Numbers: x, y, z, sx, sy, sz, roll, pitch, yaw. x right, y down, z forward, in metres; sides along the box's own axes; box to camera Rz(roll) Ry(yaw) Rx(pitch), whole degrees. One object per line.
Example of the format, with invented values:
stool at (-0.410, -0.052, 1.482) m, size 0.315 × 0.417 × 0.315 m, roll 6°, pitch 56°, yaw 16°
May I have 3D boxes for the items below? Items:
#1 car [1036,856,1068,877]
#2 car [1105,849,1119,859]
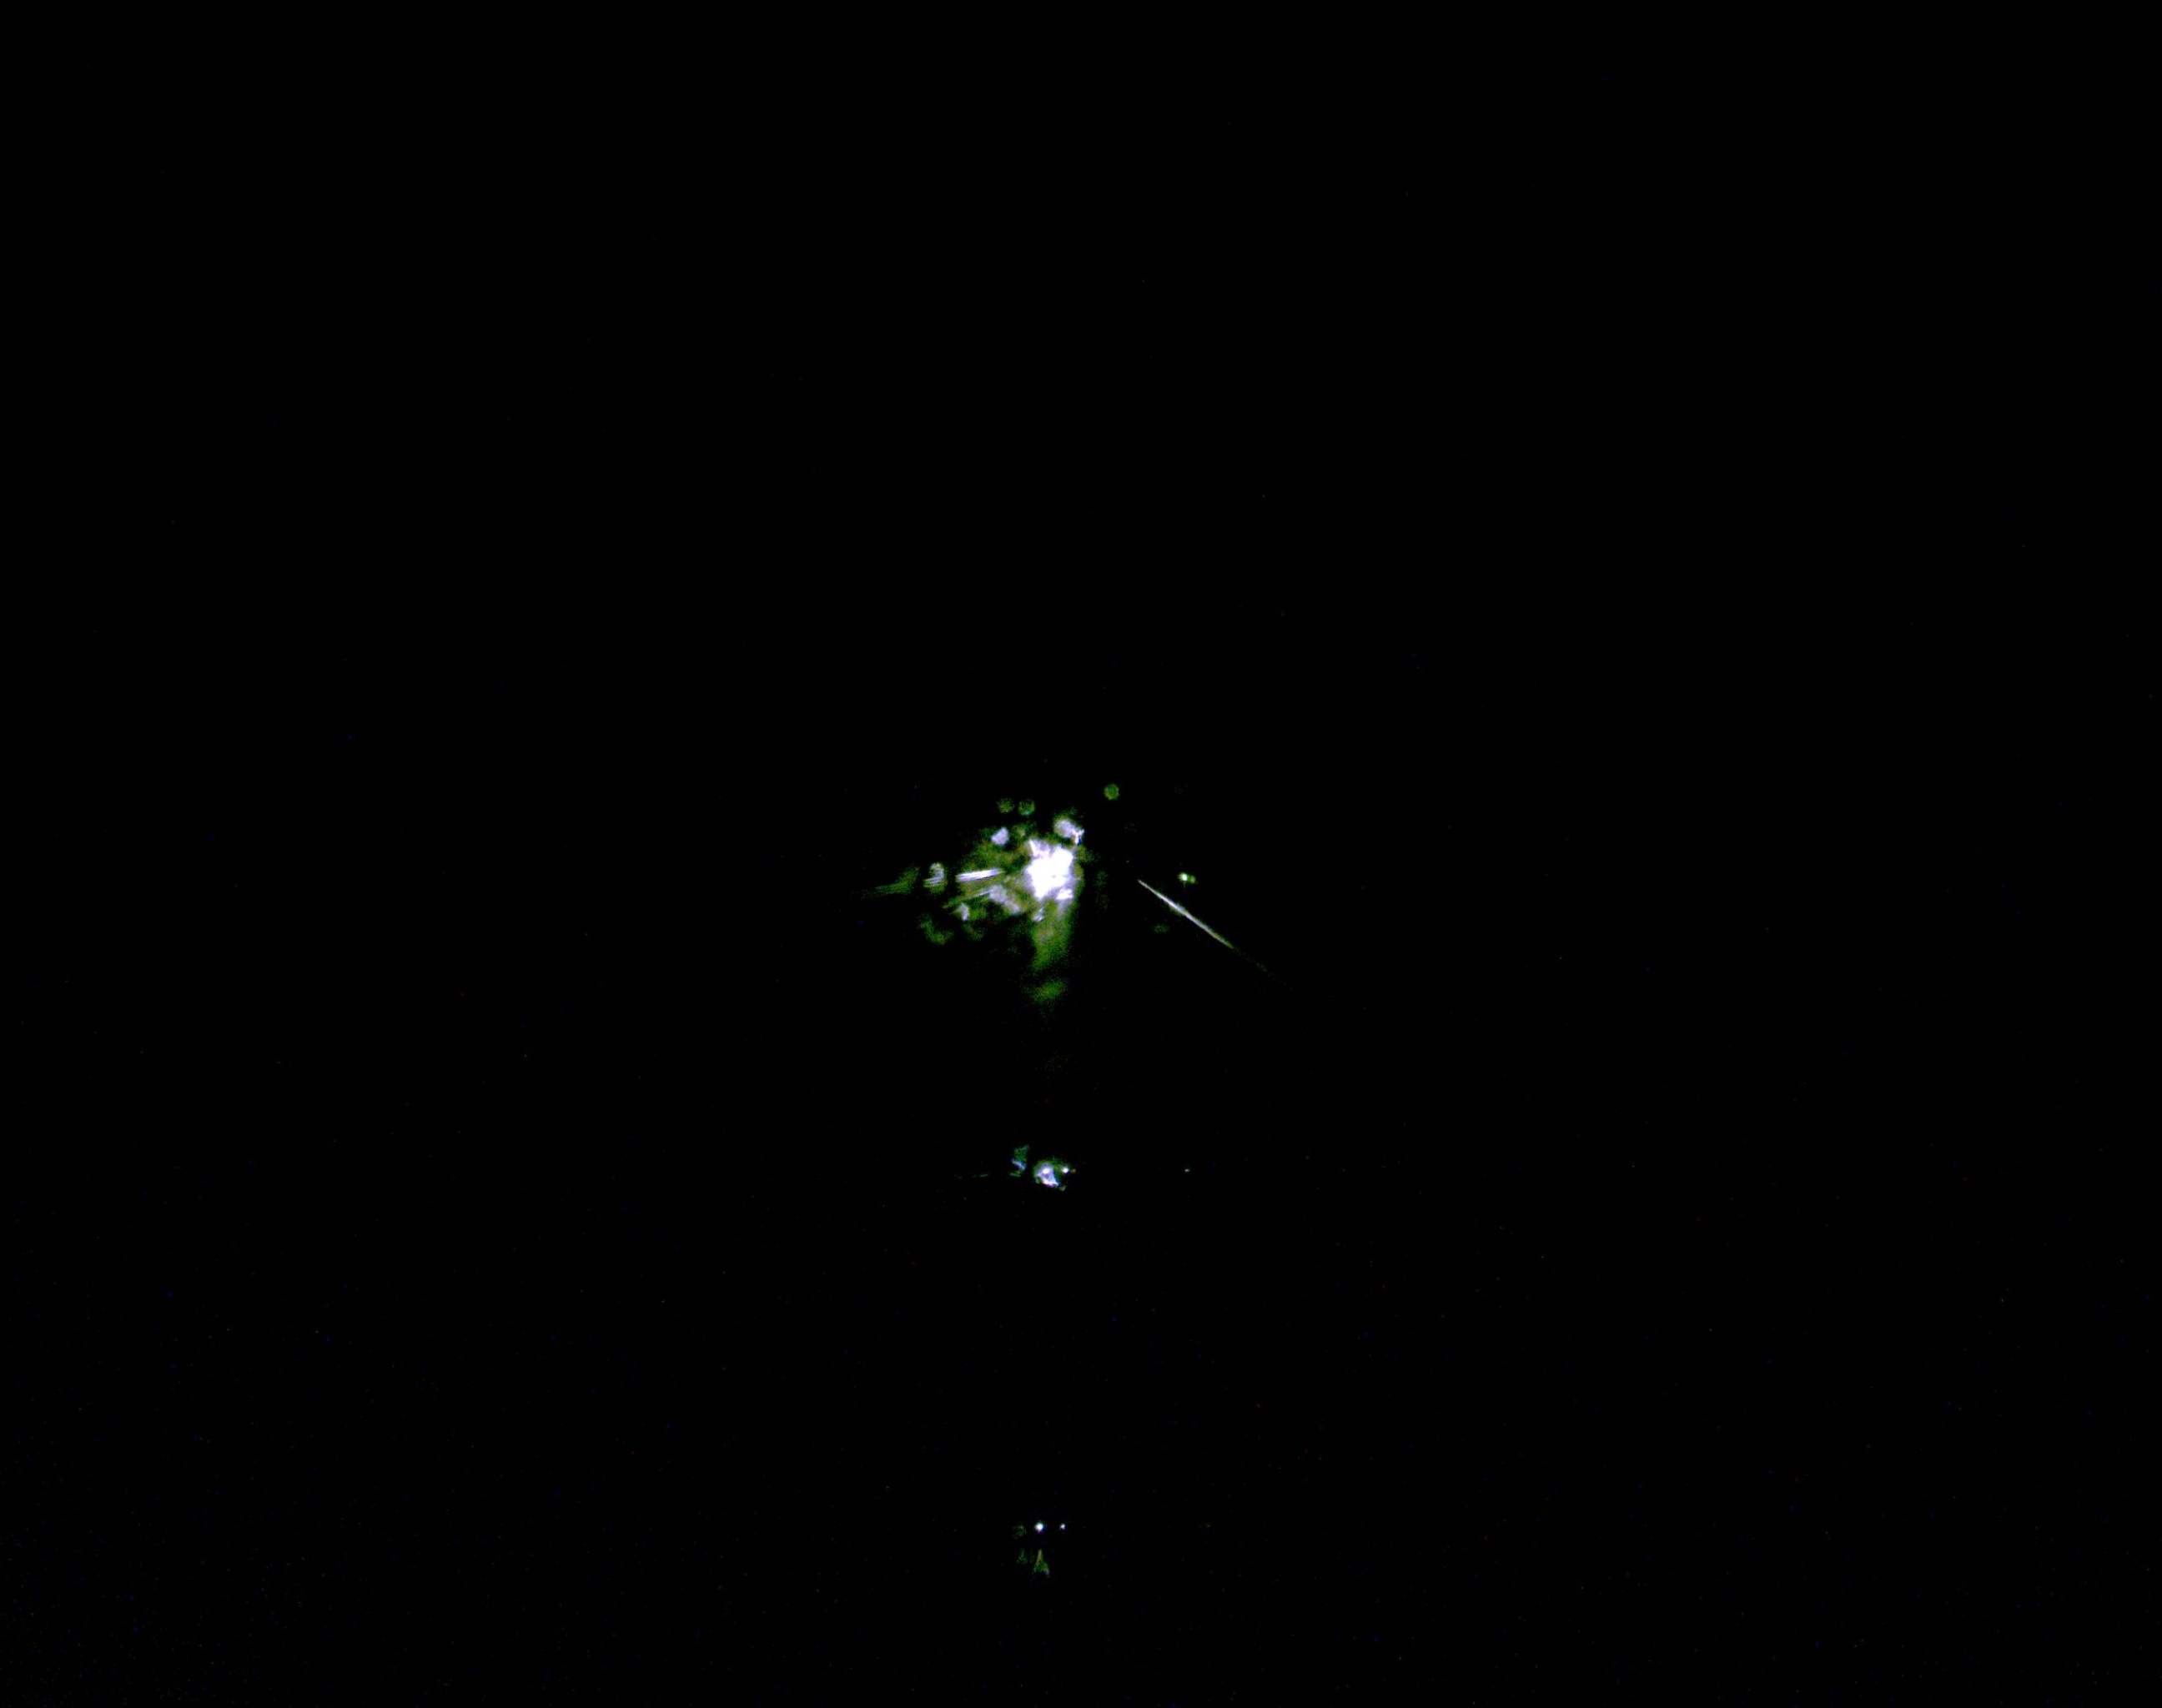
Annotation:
car at (-1.984, 0.849, 57.262) m, size 1.986 × 1.448 × 4.431 m, roll 0°, pitch 0°, yaw 1°
car at (4.770, 0.000, 125.871) m, size 1.984 × 1.618 × 4.005 m, roll -1°, pitch 0°, yaw 4°
